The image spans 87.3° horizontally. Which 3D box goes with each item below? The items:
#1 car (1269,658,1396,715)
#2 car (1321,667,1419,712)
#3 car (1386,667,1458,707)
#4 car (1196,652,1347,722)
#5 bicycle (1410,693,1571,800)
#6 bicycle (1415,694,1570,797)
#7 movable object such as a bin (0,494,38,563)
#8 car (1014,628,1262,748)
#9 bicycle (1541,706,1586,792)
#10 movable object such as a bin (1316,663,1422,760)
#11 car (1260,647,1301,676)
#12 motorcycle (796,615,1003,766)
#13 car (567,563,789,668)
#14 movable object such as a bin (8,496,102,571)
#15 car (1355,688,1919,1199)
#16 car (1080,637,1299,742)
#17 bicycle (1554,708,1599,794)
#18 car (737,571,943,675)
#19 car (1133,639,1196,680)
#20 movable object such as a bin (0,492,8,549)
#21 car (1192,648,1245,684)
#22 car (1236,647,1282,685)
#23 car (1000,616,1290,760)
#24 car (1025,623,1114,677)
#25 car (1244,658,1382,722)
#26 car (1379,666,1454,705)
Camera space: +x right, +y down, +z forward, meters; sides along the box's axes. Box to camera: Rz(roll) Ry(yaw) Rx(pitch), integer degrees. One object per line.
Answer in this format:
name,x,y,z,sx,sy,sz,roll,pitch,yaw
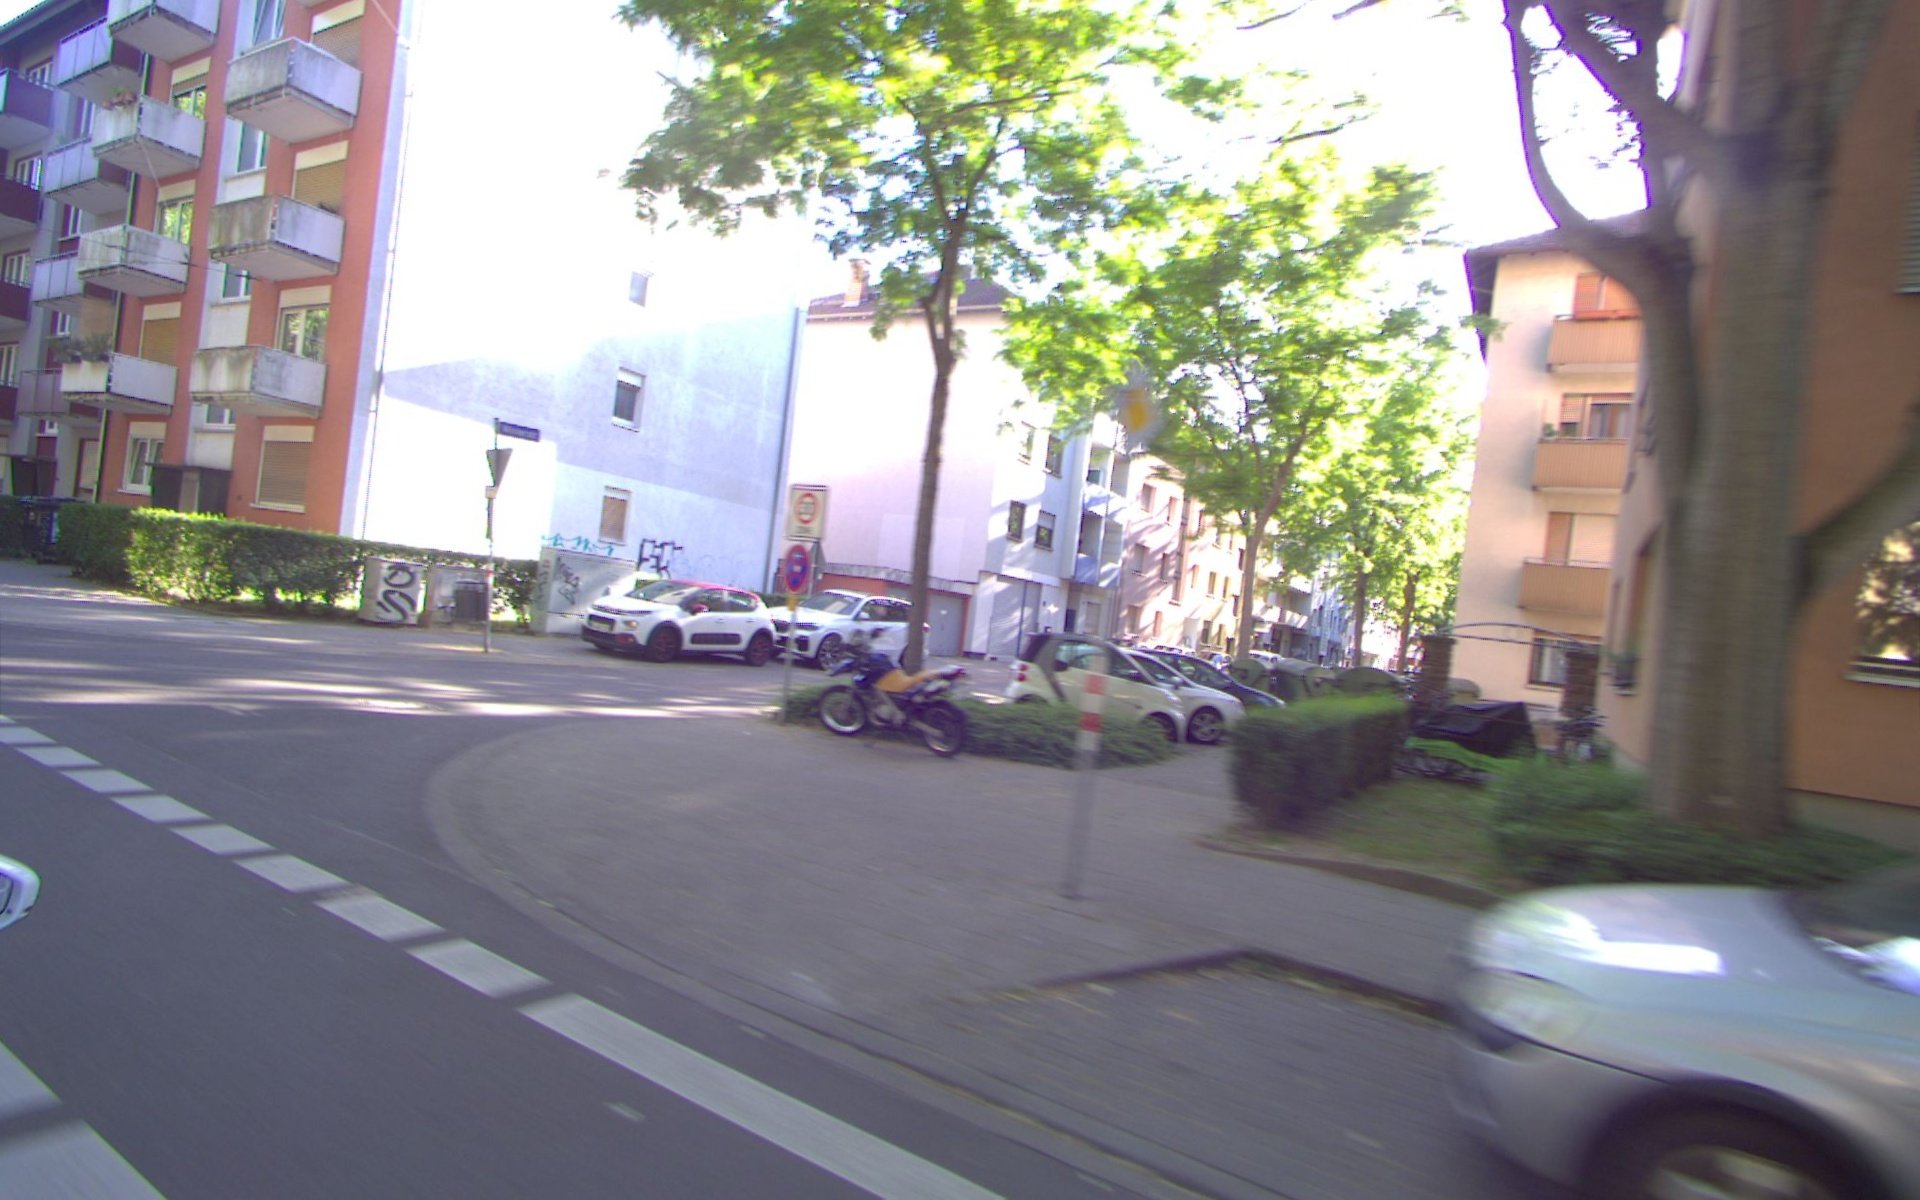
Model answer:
car,12.875,2.985,34.812,3.723,1.458,1.663,6,-2,32
car,18.303,3.995,44.963,3.723,1.458,1.663,6,-2,32
car,28.894,5.435,62.959,3.723,1.937,1.663,6,-2,32
car,8.938,2.485,28.951,3.723,1.458,1.663,6,-2,32
bicycle,7.014,1.916,13.341,1.746,1.112,0.513,6,-1,32
bicycle,7.291,1.971,13.815,1.746,1.112,0.513,6,-1,32
movable object such as a bin,-20.128,-1.548,20.840,1.693,1.342,0.969,6,-1,32
car,2.988,1.483,17.496,3.873,1.478,1.727,7,-1,0
bicycle,9.264,2.261,15.454,0.443,1.183,1.773,7,-2,31
movable object such as a bin,7.202,1.908,17.626,1.354,1.436,2.545,5,-2,28
car,19.540,3.785,61.345,1.413,1.507,3.384,7,-1,33
motorcycle,-0.700,0.940,10.947,2.223,1.314,0.678,6,0,37
car,-5.192,0.364,19.016,1.534,1.500,3.921,10,0,30
movable object such as a bin,-18.679,-1.358,20.770,0.762,1.342,1.155,6,-2,31
car,3.342,1.264,2.646,3.933,1.491,1.708,7,0,31
car,4.470,1.727,20.014,3.872,1.478,1.667,7,-1,2
bicycle,9.405,2.279,15.366,0.443,1.178,1.773,7,-2,31
car,-2.628,0.613,23.211,1.972,1.815,4.727,10,1,33
car,8.897,2.610,43.614,1.413,1.507,3.384,7,-1,33
movable object such as a bin,-21.614,-1.778,21.791,1.654,1.342,0.925,6,-1,32
car,12.781,3.279,49.614,1.413,1.507,3.384,7,-1,33
car,16.956,3.756,56.906,1.413,1.896,3.384,7,-1,33
car,2.675,1.278,15.221,3.926,1.559,1.727,7,-1,0
car,3.784,1.734,34.360,1.557,1.507,3.384,7,-1,33
car,11.121,2.820,31.721,3.723,1.458,1.663,6,-2,32
car,26.970,5.057,59.499,3.723,1.738,1.663,6,-2,32
